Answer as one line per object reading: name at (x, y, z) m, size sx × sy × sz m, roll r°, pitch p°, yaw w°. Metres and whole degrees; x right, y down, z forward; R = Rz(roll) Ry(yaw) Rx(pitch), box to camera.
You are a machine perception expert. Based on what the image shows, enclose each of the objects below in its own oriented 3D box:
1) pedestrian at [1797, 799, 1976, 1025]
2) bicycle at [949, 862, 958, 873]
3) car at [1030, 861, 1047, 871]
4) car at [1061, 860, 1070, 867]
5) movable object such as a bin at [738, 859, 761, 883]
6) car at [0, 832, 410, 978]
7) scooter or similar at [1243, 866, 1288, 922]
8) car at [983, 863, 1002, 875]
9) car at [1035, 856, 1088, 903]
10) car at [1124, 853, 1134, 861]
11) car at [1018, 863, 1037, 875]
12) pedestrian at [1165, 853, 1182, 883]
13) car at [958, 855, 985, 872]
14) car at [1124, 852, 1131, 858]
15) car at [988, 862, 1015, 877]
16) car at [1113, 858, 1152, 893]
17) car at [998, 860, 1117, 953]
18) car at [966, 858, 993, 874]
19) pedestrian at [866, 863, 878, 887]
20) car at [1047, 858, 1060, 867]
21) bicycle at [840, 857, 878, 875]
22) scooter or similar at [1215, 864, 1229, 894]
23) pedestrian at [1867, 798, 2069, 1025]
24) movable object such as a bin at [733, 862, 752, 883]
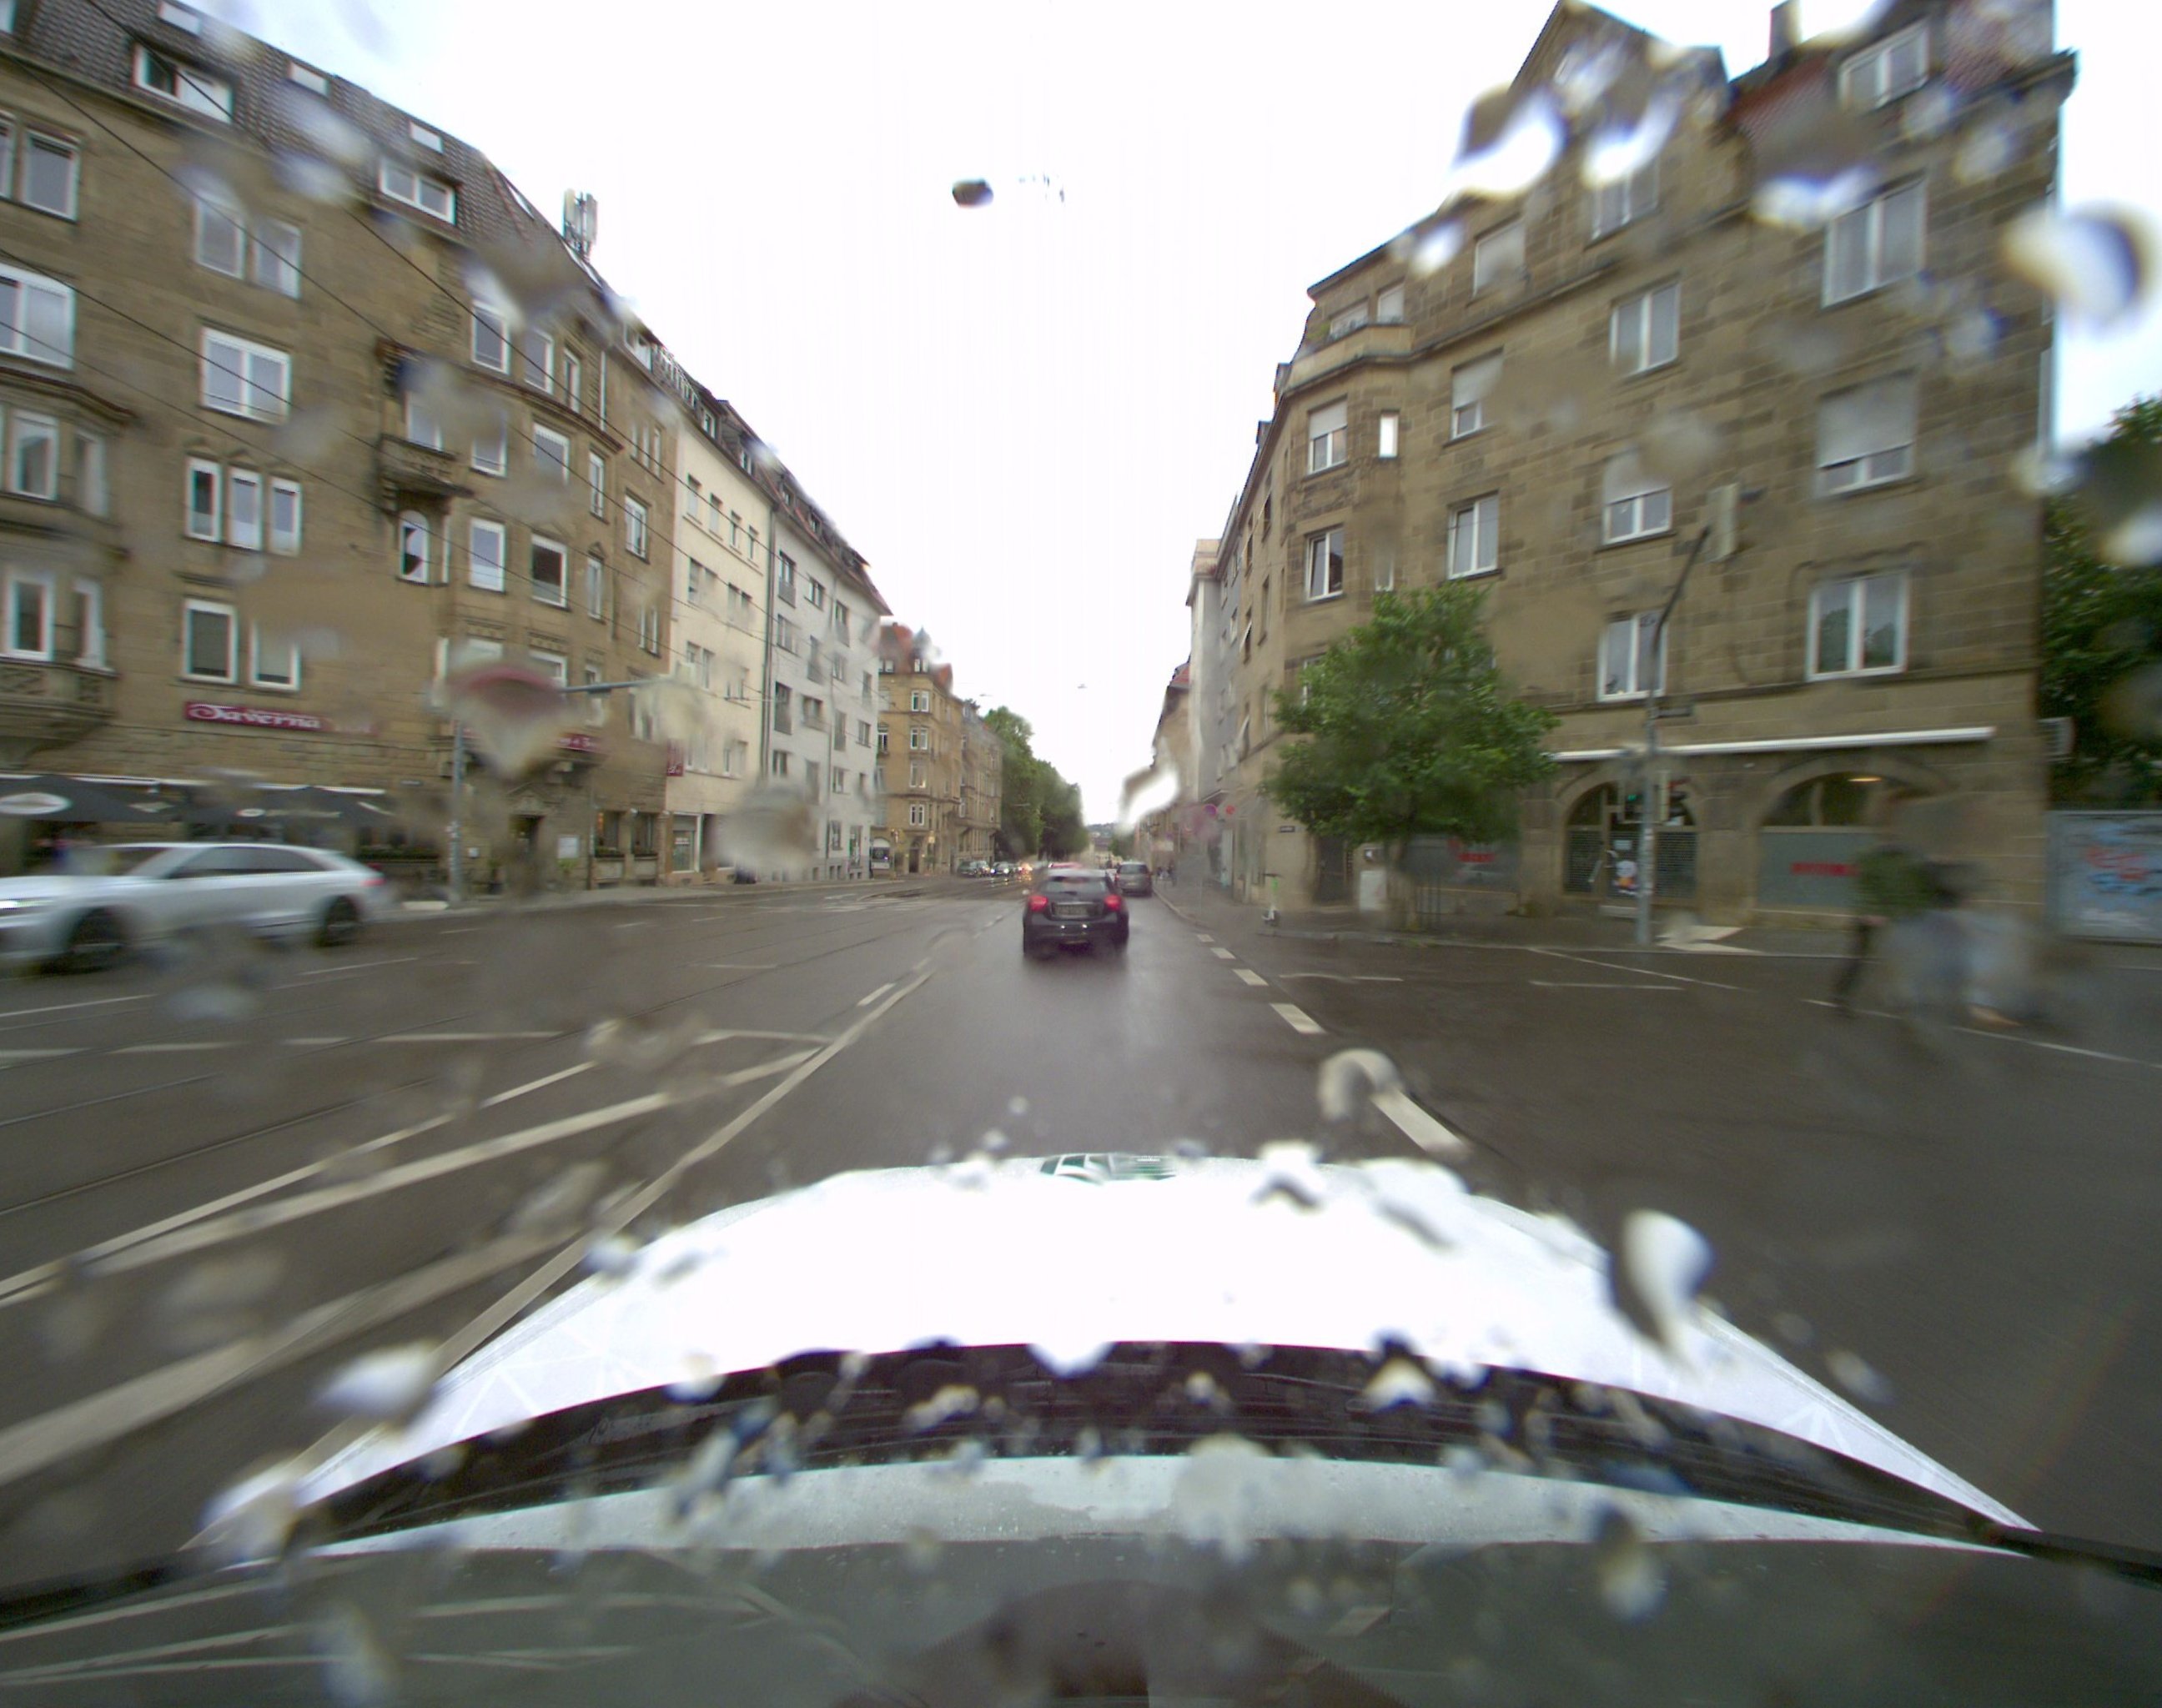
pedestrian at (6.793, 0.462, 6.919) m, size 0.592 × 1.788 × 0.890 m, roll -1°, pitch -1°, yaw -1°
bicycle at (-12.357, 1.316, 78.834) m, size 0.596 × 1.000 × 2.078 m, roll 0°, pitch 0°, yaw -1°
car at (-5.700, 1.594, 109.119) m, size 1.798 × 1.361 × 4.767 m, roll 0°, pitch 0°, yaw 4°
car at (-3.183, 1.931, 166.025) m, size 1.562 × 1.413 × 3.485 m, roll 0°, pitch 0°, yaw 5°
movable object such as a bin at (-15.927, 0.800, 39.125) m, size 0.710 × 1.074 × 0.687 m, roll 4°, pitch -1°, yaw 2°
car at (-12.898, 0.578, 11.640) m, size 1.985 × 1.627 × 5.258 m, roll 0°, pitch 0°, yaw 4°
scooter or similar at (4.198, 0.892, 18.615) m, size 0.636 × 1.210 × 1.552 m, roll 0°, pitch -1°, yaw -1°
car at (-10.049, 1.675, 92.668) m, size 1.562 × 1.316 × 3.485 m, roll 0°, pitch 0°, yaw 5°
car at (-0.603, 0.820, 27.905) m, size 1.644 × 1.452 × 4.000 m, roll 1°, pitch 0°, yaw 1°
car at (7.798, 0.509, 133.786) m, size 1.607 × 1.317 × 4.003 m, roll 0°, pitch 0°, yaw 3°
car at (-6.398, 1.789, 97.686) m, size 1.672 × 1.497 × 3.524 m, roll 0°, pitch 0°, yaw 6°
pedestrian at (5.532, 0.858, 48.906) m, size 0.941 × 1.769 × 1.015 m, roll 0°, pitch 0°, yaw 1°
car at (-10.401, 0.926, 77.701) m, size 1.714 × 1.541 × 3.938 m, roll 0°, pitch 0°, yaw 5°
car at (10.856, 0.248, 190.709) m, size 1.607 × 1.317 × 4.003 m, roll 2°, pitch -1°, yaw 3°
car at (-7.716, 1.514, 79.520) m, size 1.940 × 1.397 × 4.278 m, roll -1°, pitch 0°, yaw 3°
car at (2.462, 1.002, 39.081) m, size 1.758 × 1.559 × 4.749 m, roll 0°, pitch -1°, yaw 3°
car at (-0.288, 0.853, 14.912) m, size 1.859 × 1.452 × 4.003 m, roll 0°, pitch 0°, yaw 3°
car at (-10.306, 1.223, 83.126) m, size 1.798 × 1.597 × 4.531 m, roll 0°, pitch 0°, yaw 5°
pedestrian at (-15.560, 1.540, 60.588) m, size 0.638 × 1.787 × 0.924 m, roll -1°, pitch -2°, yaw 2°
car at (-4.573, 1.418, 136.868) m, size 1.687 × 1.388 × 3.485 m, roll 0°, pitch 0°, yaw 5°
bicycle at (-19.626, 1.047, 72.080) m, size 3.145 × 1.584 × 1.593 m, roll 0°, pitch -1°, yaw -9°
scooter or similar at (5.871, 1.042, 33.987) m, size 0.393 × 1.216 × 1.107 m, roll 0°, pitch 0°, yaw 1°
pedestrian at (7.460, 0.456, 6.900) m, size 0.680 × 1.788 × 0.901 m, roll -1°, pitch -1°, yaw -1°
movable object such as a bin at (-15.956, 0.878, 38.436) m, size 0.591 × 0.911 × 0.560 m, roll 4°, pitch -1°, yaw 2°
